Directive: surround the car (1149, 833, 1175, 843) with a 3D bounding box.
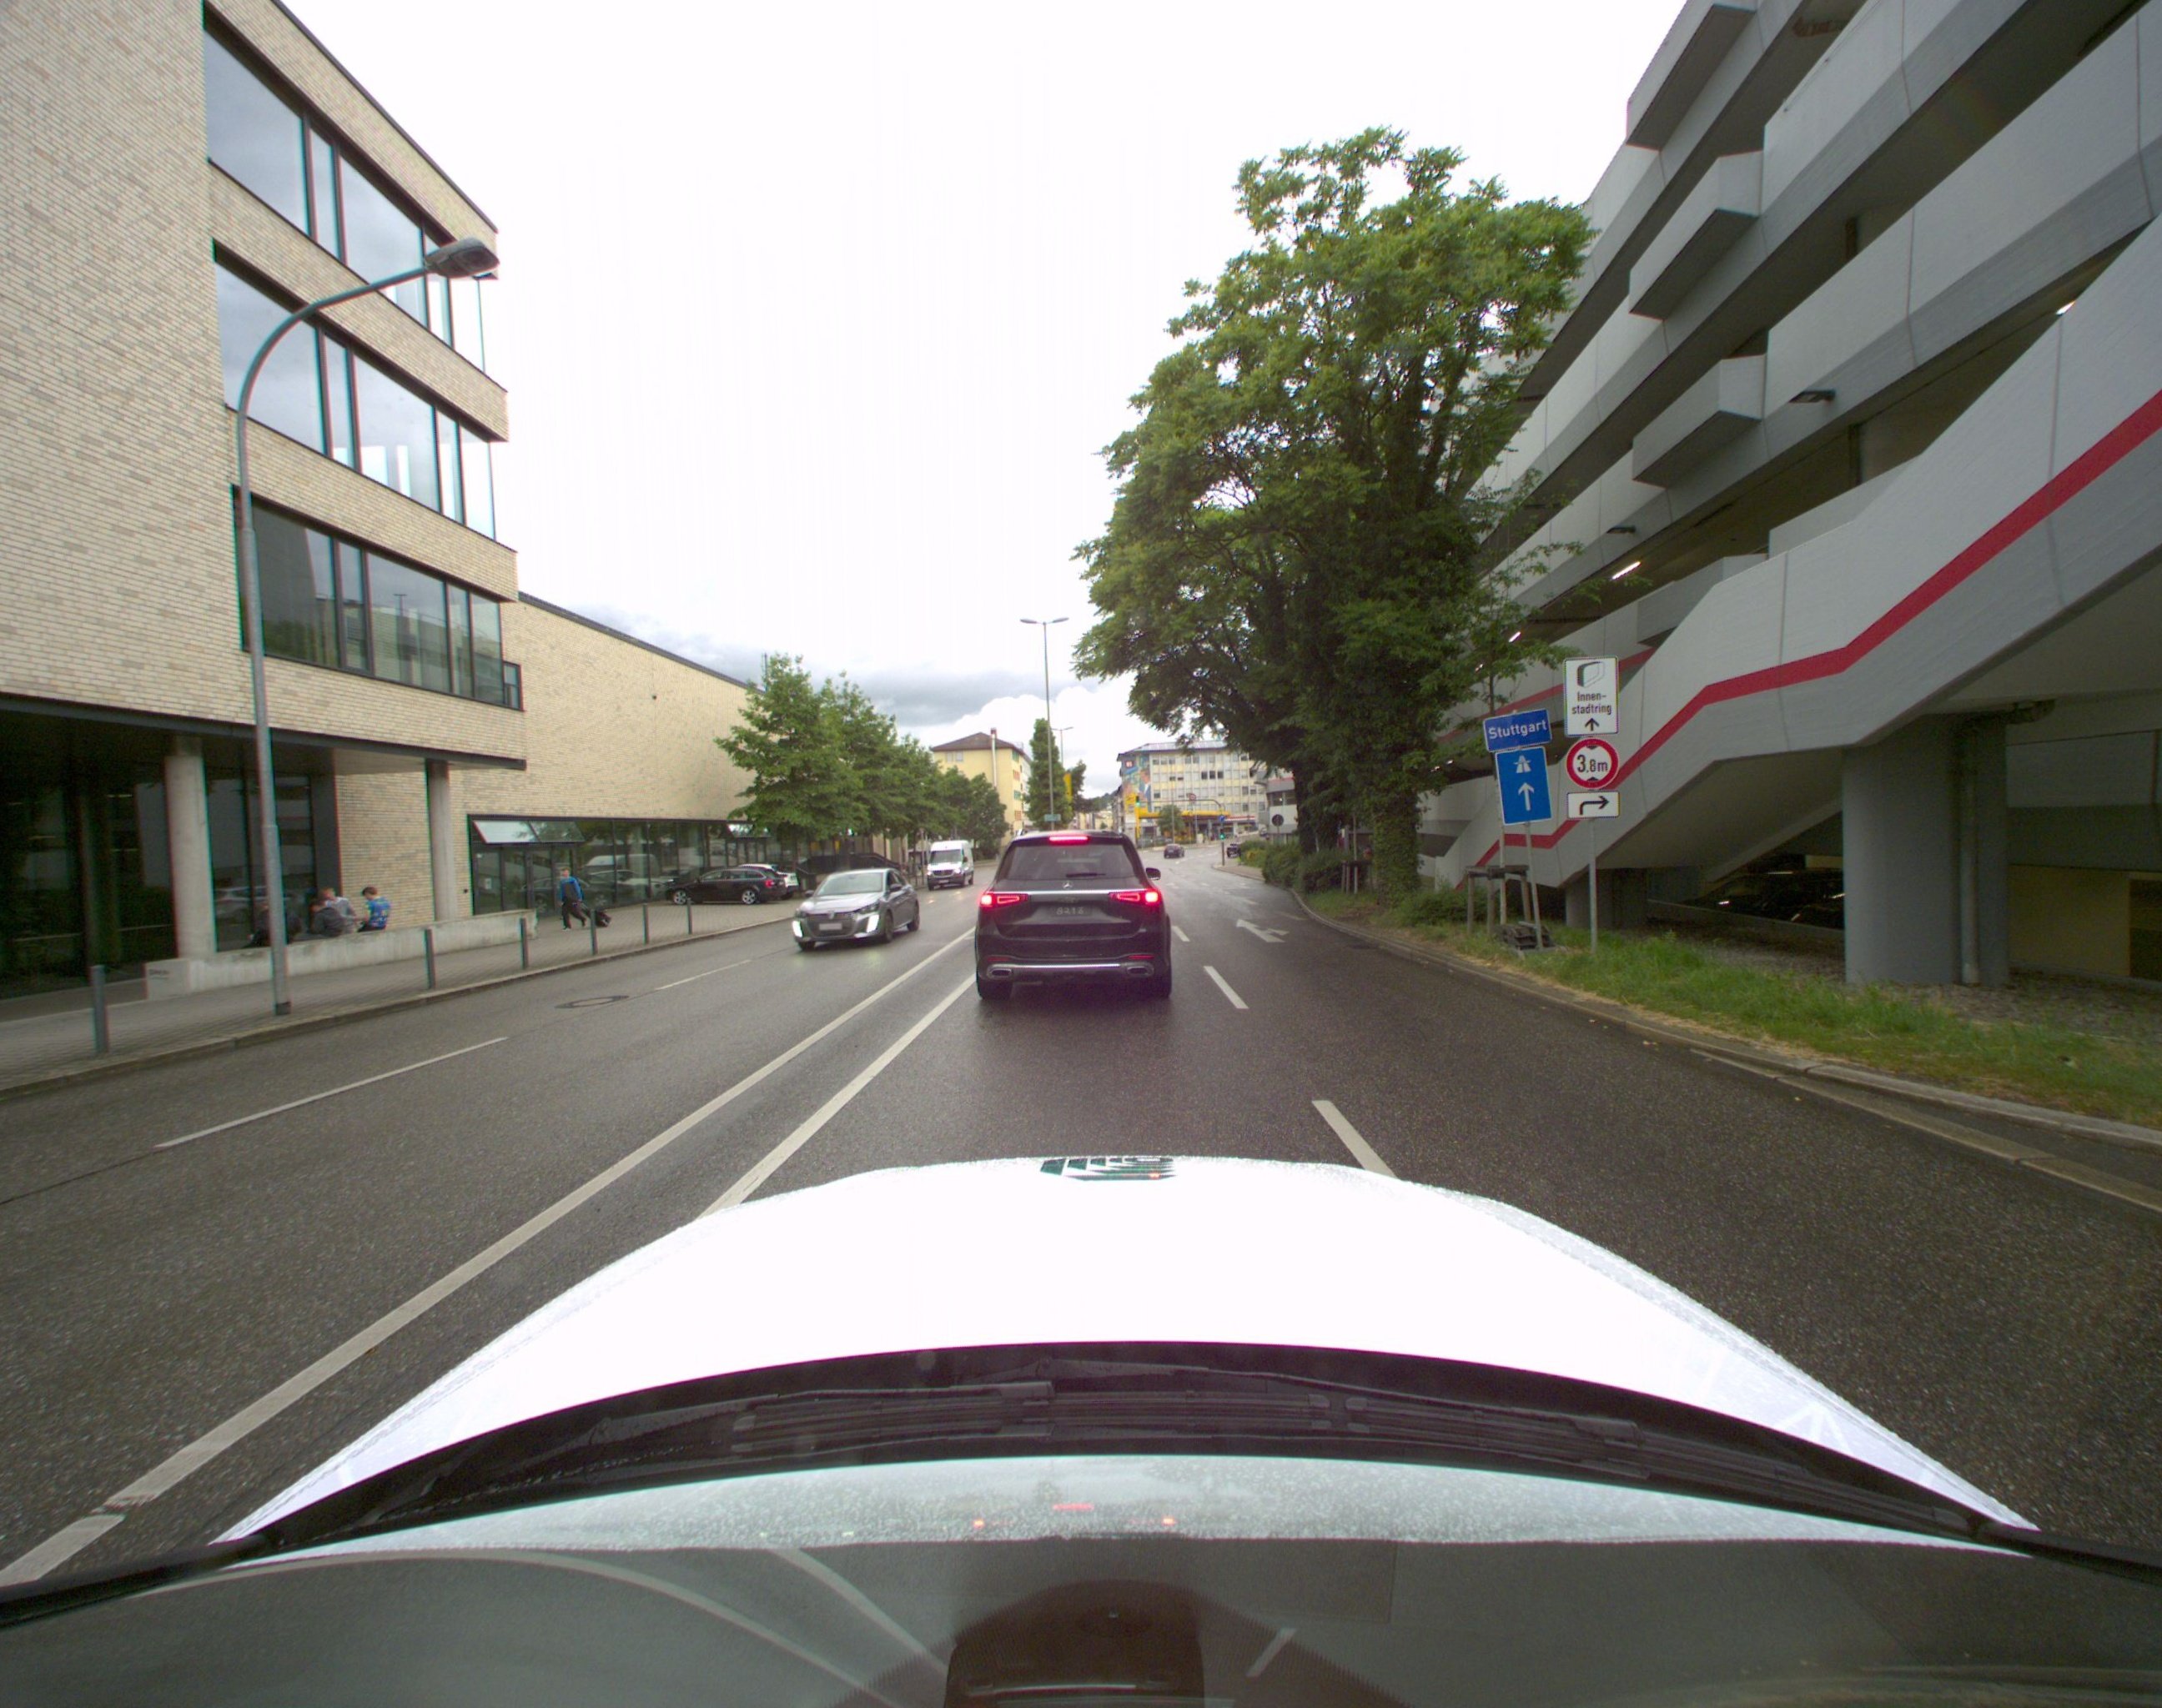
[{"bbox_3d":[12.780,-2.515,128.486,1.747,1.376,3.952,-4,1,-42],"label":"car"}]

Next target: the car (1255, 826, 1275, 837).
[{"bbox_3d":[31.184,-3.812,137.944,1.974,1.705,4.026,-2,1,35],"label":"car"}]

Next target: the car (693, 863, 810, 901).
[{"bbox_3d":[-14.125,1.182,35.046,4.158,1.547,2.002,0,-1,3],"label":"car"}]

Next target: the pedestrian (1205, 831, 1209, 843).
[{"bbox_3d":[18.599,-2.472,120.162,0.570,1.697,0.631,0,-1,3],"label":"pedestrian"}]

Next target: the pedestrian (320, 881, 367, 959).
[{"bbox_3d":[-14.391,1.275,15.896,0.440,1.475,0.528,0,-1,-3],"label":"pedestrian"}]

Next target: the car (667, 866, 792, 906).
[{"bbox_3d":[-14.027,1.252,32.738,4.169,1.495,1.997,0,-1,-5],"label":"car"}]

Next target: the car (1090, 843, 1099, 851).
[{"bbox_3d":[3.341,-1.637,195.017,1.985,2.014,4.003,0,-1,3],"label":"car"}]

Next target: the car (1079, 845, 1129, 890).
[{"bbox_3d":[0.978,0.547,34.788,1.986,1.800,4.001,0,-1,2],"label":"car"}]

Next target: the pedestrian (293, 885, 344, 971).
[{"bbox_3d":[-13.527,1.304,14.457,0.448,1.475,0.463,0,-1,-4],"label":"pedestrian"}]

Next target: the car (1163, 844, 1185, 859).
[{"bbox_3d":[9.988,-0.285,86.942,1.783,1.525,4.072,0,1,15],"label":"car"}]

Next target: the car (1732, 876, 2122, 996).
[{"bbox_3d":[12.942,1.236,12.717,3.966,1.624,1.842,-1,0,6],"label":"car"}]

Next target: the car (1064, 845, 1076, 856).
[{"bbox_3d":[-1.770,-0.561,132.617,1.862,1.839,3.819,0,-1,0],"label":"car"}]

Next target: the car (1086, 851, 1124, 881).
[{"bbox_3d":[1.271,0.617,43.041,1.900,1.501,4.001,0,-1,2],"label":"car"}]

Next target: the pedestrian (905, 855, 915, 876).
[{"bbox_3d":[-13.906,0.922,66.349,0.641,1.665,1.017,0,-1,-4],"label":"pedestrian"}]

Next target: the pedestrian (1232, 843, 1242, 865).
[{"bbox_3d":[12.507,0.005,65.254,0.639,1.710,0.474,-2,-1,38],"label":"pedestrian"}]

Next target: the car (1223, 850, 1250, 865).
[{"bbox_3d":[16.456,0.367,86.023,1.928,1.486,4.023,-1,-1,24],"label":"car"}]

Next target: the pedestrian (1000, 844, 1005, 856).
[{"bbox_3d":[-11.080,-0.601,114.885,0.647,1.727,0.628,-3,1,-2],"label":"pedestrian"}]

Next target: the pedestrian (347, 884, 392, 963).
[{"bbox_3d":[-13.687,1.327,15.678,0.448,1.475,0.463,0,-1,-4],"label":"pedestrian"}]

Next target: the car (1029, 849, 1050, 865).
[{"bbox_3d":[-4.097,0.304,80.822,1.806,1.462,4.286,-4,0,-1],"label":"car"}]

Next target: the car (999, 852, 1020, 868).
[{"bbox_3d":[-7.199,0.599,82.481,1.792,1.495,3.802,0,-1,-1],"label":"car"}]

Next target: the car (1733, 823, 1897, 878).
[{"bbox_3d":[26.215,-0.120,29.235,3.958,1.783,1.823,-2,0,14],"label":"car"}]

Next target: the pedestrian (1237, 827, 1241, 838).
[{"bbox_3d":[26.459,-3.597,136.434,0.521,1.727,0.693,-2,1,28],"label":"pedestrian"}]

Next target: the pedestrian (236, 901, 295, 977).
[{"bbox_3d":[-13.537,1.406,13.520,0.546,1.215,0.422,0,-1,4],"label":"pedestrian"}]

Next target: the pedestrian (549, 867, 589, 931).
[{"bbox_3d":[-14.083,1.223,22.413,0.632,1.714,0.705,0,-1,4],"label":"pedestrian"}]

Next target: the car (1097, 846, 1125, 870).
[{"bbox_3d":[2.090,0.282,57.011,1.900,1.586,4.001,0,-1,2],"label":"car"}]

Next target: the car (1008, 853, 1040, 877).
[{"bbox_3d":[-4.014,0.765,58.054,1.877,1.498,4.560,-4,0,-1],"label":"car"}]

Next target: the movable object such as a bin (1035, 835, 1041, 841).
[{"bbox_3d":[-7.510,-2.734,141.499,0.906,1.038,0.844,0,-1,2],"label":"movable object such as a bin"}]

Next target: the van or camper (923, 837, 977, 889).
[{"bbox_3d":[-7.310,0.486,45.905,2.096,2.582,5.903,-4,0,-2],"label":"van or camper"}]

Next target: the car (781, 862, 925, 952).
[{"bbox_3d":[-4.453,0.962,16.513,1.735,1.470,3.882,-4,0,0],"label":"car"}]

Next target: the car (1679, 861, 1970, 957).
[{"bbox_3d":[13.906,1.002,15.454,3.713,1.540,1.815,-1,3,7],"label":"car"}]

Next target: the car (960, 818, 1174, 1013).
[{"bbox_3d":[-0.065,0.591,9.604,1.986,1.800,4.001,0,-1,2],"label":"car"}]
